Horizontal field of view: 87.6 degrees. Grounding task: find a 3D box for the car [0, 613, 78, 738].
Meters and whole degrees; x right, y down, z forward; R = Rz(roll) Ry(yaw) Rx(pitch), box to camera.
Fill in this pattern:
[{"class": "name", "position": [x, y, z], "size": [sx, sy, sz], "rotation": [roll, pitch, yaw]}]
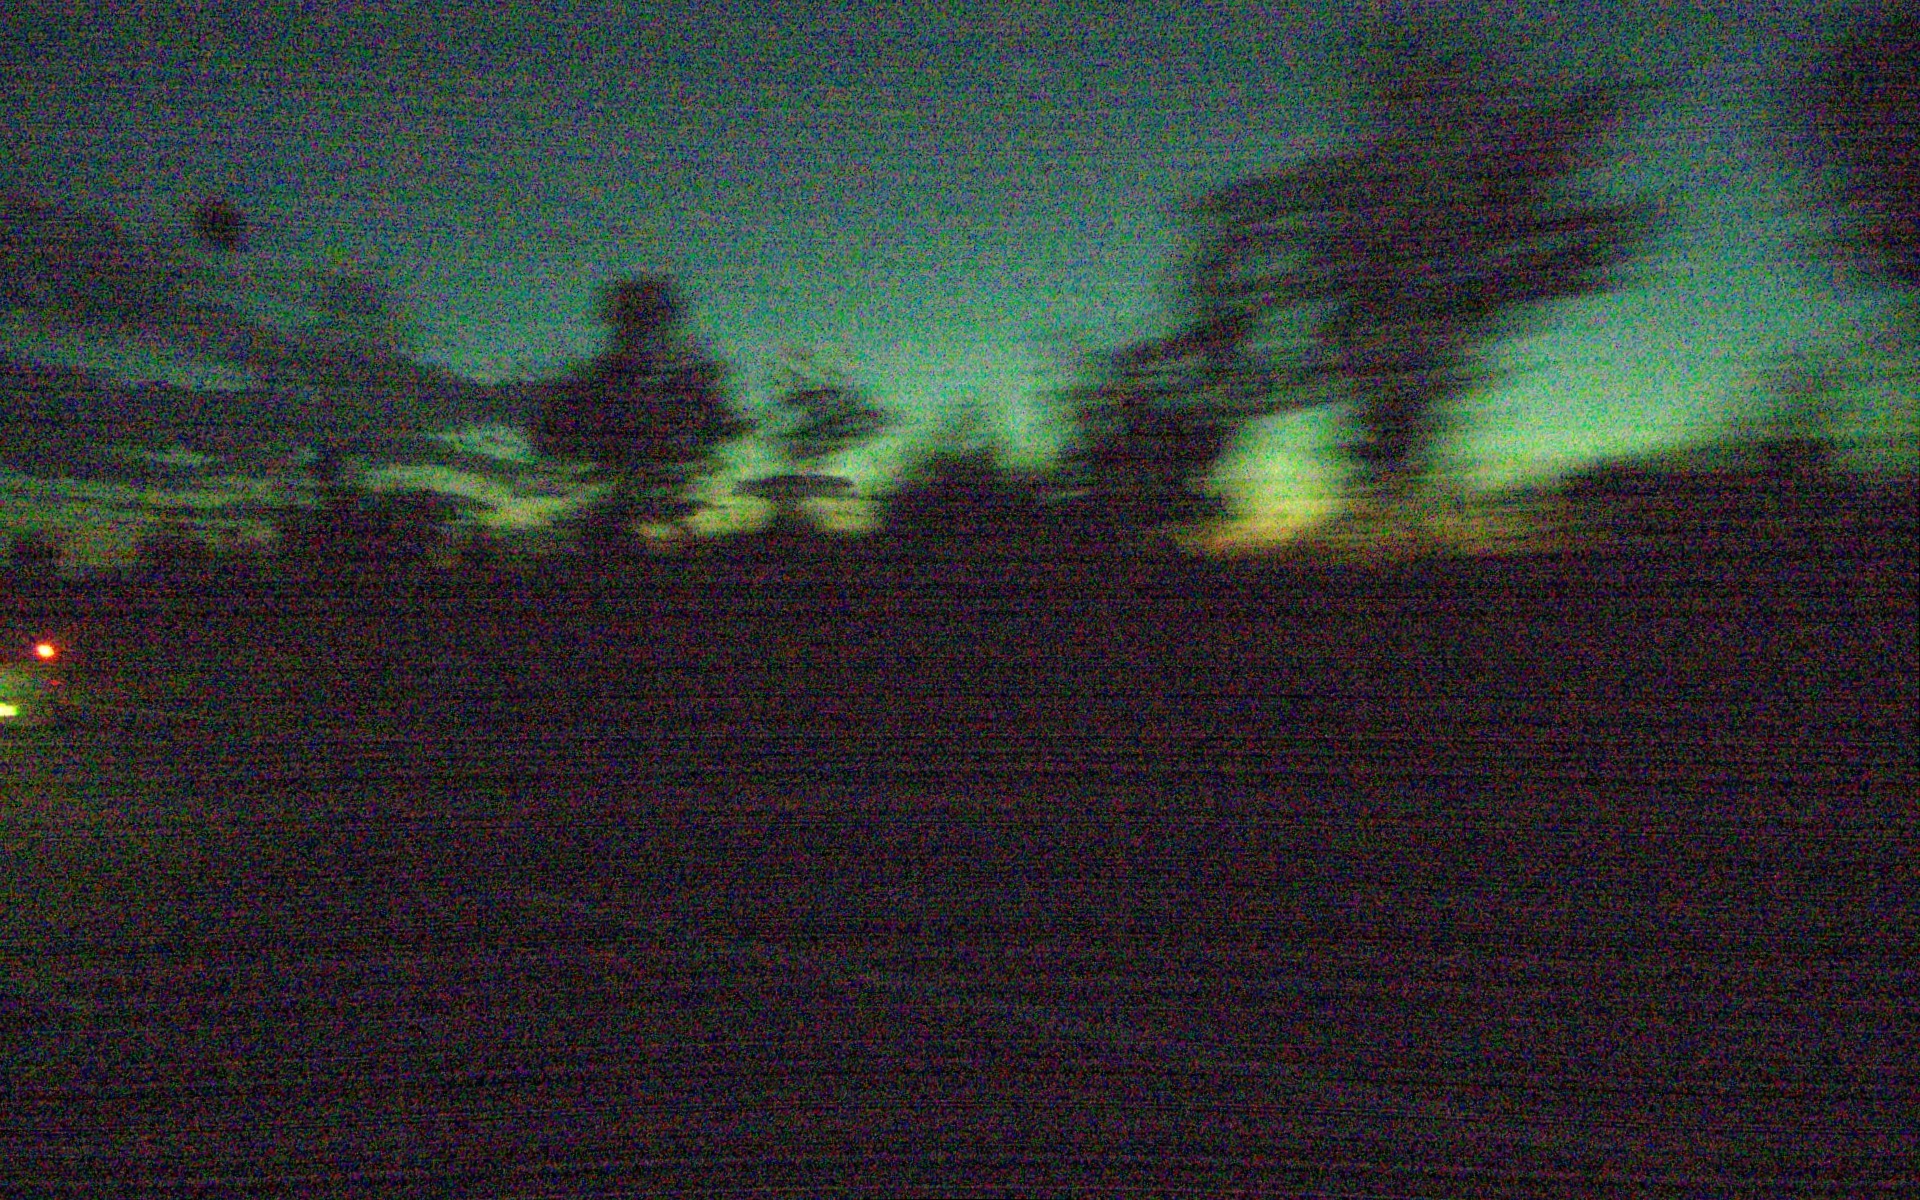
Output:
[{"class": "car", "position": [-14.316, 1.004, 14.139], "size": [4.445, 1.617, 1.643], "rotation": [-1, -1, 33]}]
